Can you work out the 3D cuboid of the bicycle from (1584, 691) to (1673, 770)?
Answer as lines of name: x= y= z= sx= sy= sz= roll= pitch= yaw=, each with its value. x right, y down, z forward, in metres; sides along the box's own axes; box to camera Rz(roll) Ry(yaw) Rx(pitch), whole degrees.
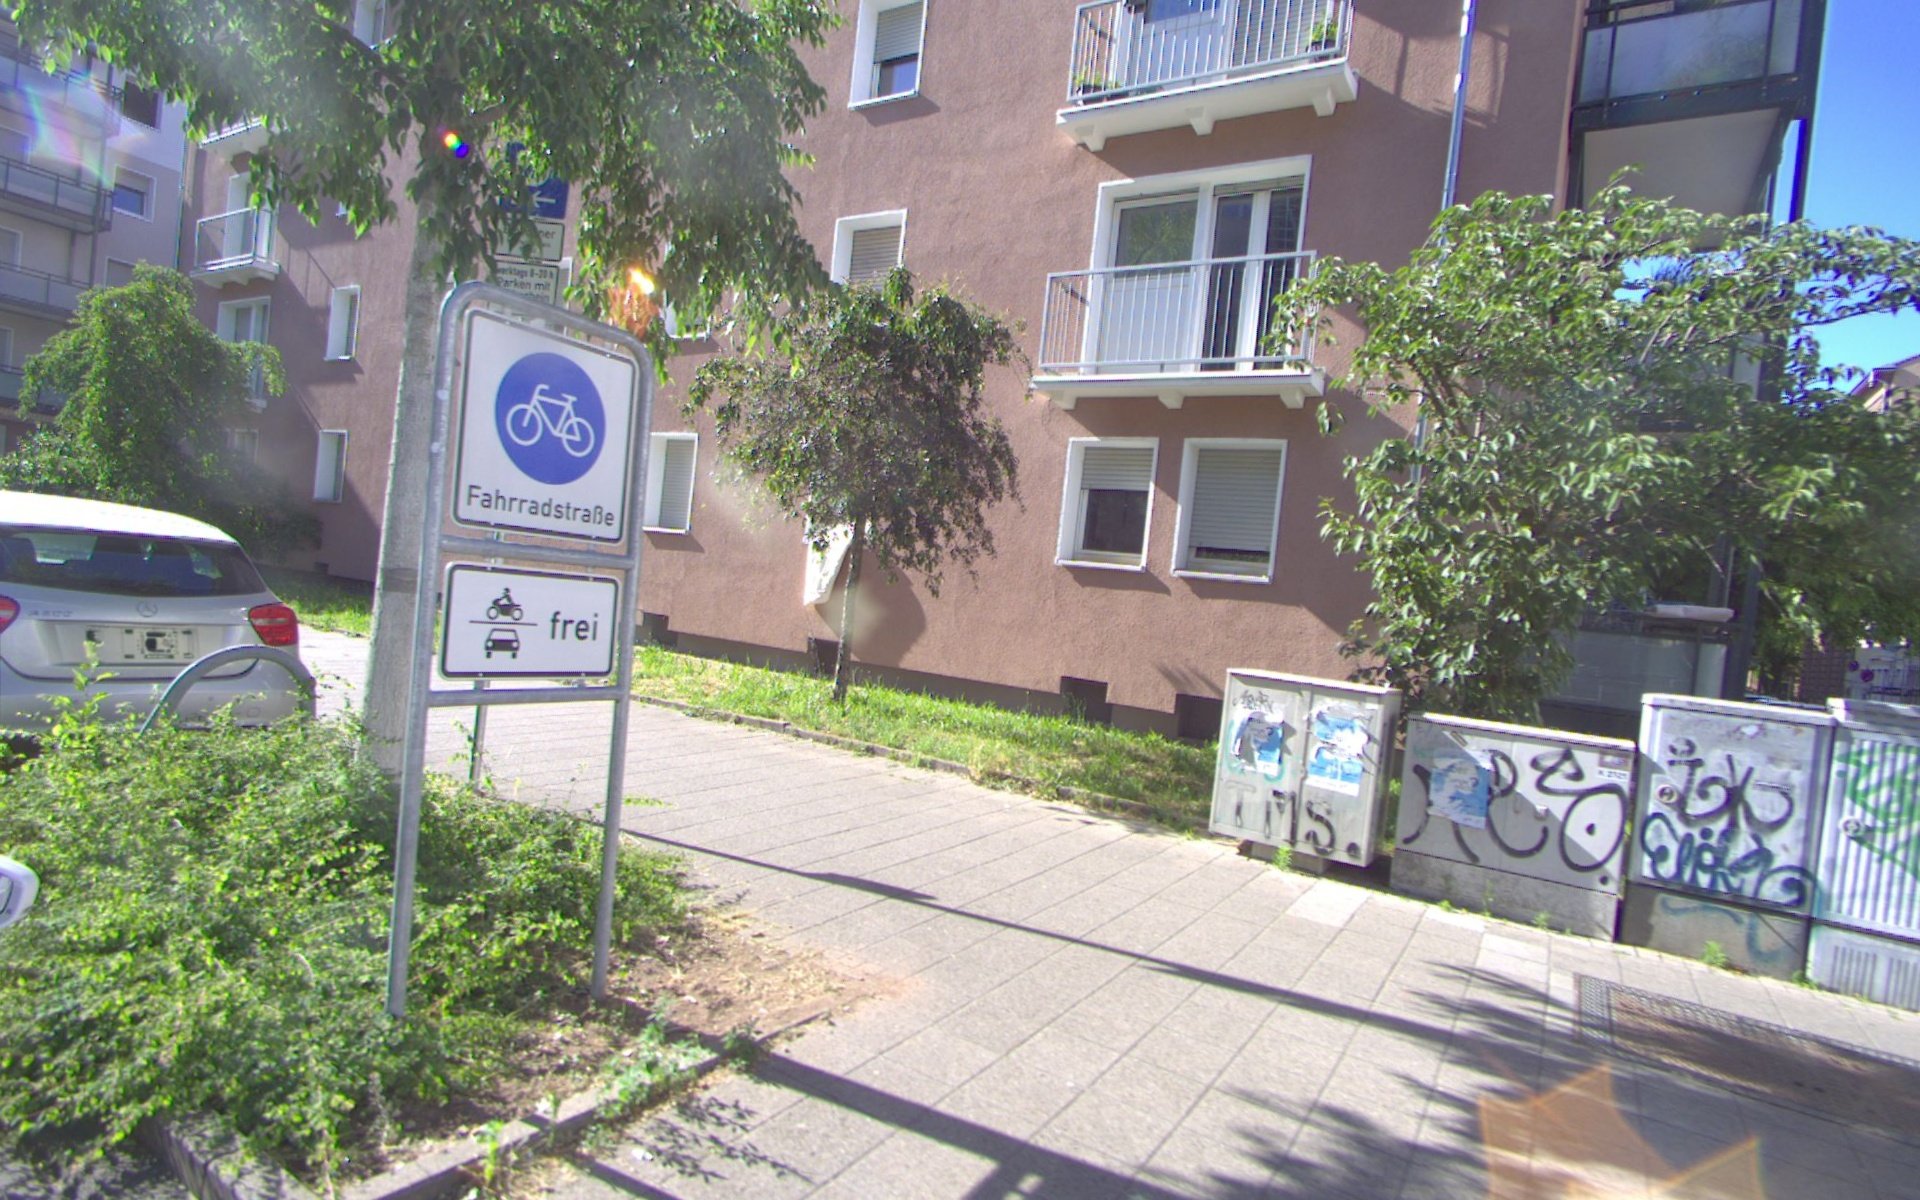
bicycle: x=10.879 y=2.104 z=16.408 sx=0.249 sy=1.084 sz=1.211 roll=6 pitch=1 yaw=-18

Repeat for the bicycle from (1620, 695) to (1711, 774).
bicycle: x=11.524 y=2.185 z=16.468 sx=0.249 sy=1.085 sz=1.215 roll=6 pitch=1 yaw=-18

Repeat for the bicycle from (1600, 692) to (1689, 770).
bicycle: x=11.210 y=2.125 z=16.505 sx=0.249 sy=1.085 sz=1.211 roll=6 pitch=1 yaw=-18

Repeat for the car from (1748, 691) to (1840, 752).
car: x=26.288 y=3.790 z=31.809 sx=1.632 sy=1.519 sz=3.753 roll=7 pitch=0 yaw=33

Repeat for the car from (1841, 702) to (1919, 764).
car: x=28.334 y=4.028 z=30.424 sx=1.807 sy=1.476 sz=3.950 roll=7 pitch=1 yaw=33

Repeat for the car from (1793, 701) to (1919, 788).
car: x=20.582 y=3.228 z=23.108 sx=1.632 sy=1.519 sz=3.753 roll=7 pitch=0 yaw=33

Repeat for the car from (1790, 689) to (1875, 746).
car: x=35.380 y=4.726 z=40.914 sx=1.870 sy=1.882 sz=3.984 roll=7 pitch=0 yaw=33

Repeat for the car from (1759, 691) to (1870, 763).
car: x=22.920 y=3.340 z=27.118 sx=1.632 sy=1.519 sz=3.753 roll=7 pitch=0 yaw=33

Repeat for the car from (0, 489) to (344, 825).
car: x=-5.630 y=0.092 z=5.902 sx=4.087 sy=1.472 sz=1.741 roll=7 pitch=1 yaw=32

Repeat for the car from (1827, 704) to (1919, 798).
car: x=18.488 y=2.953 z=19.696 sx=1.632 sy=1.519 sz=3.753 roll=7 pitch=0 yaw=33
